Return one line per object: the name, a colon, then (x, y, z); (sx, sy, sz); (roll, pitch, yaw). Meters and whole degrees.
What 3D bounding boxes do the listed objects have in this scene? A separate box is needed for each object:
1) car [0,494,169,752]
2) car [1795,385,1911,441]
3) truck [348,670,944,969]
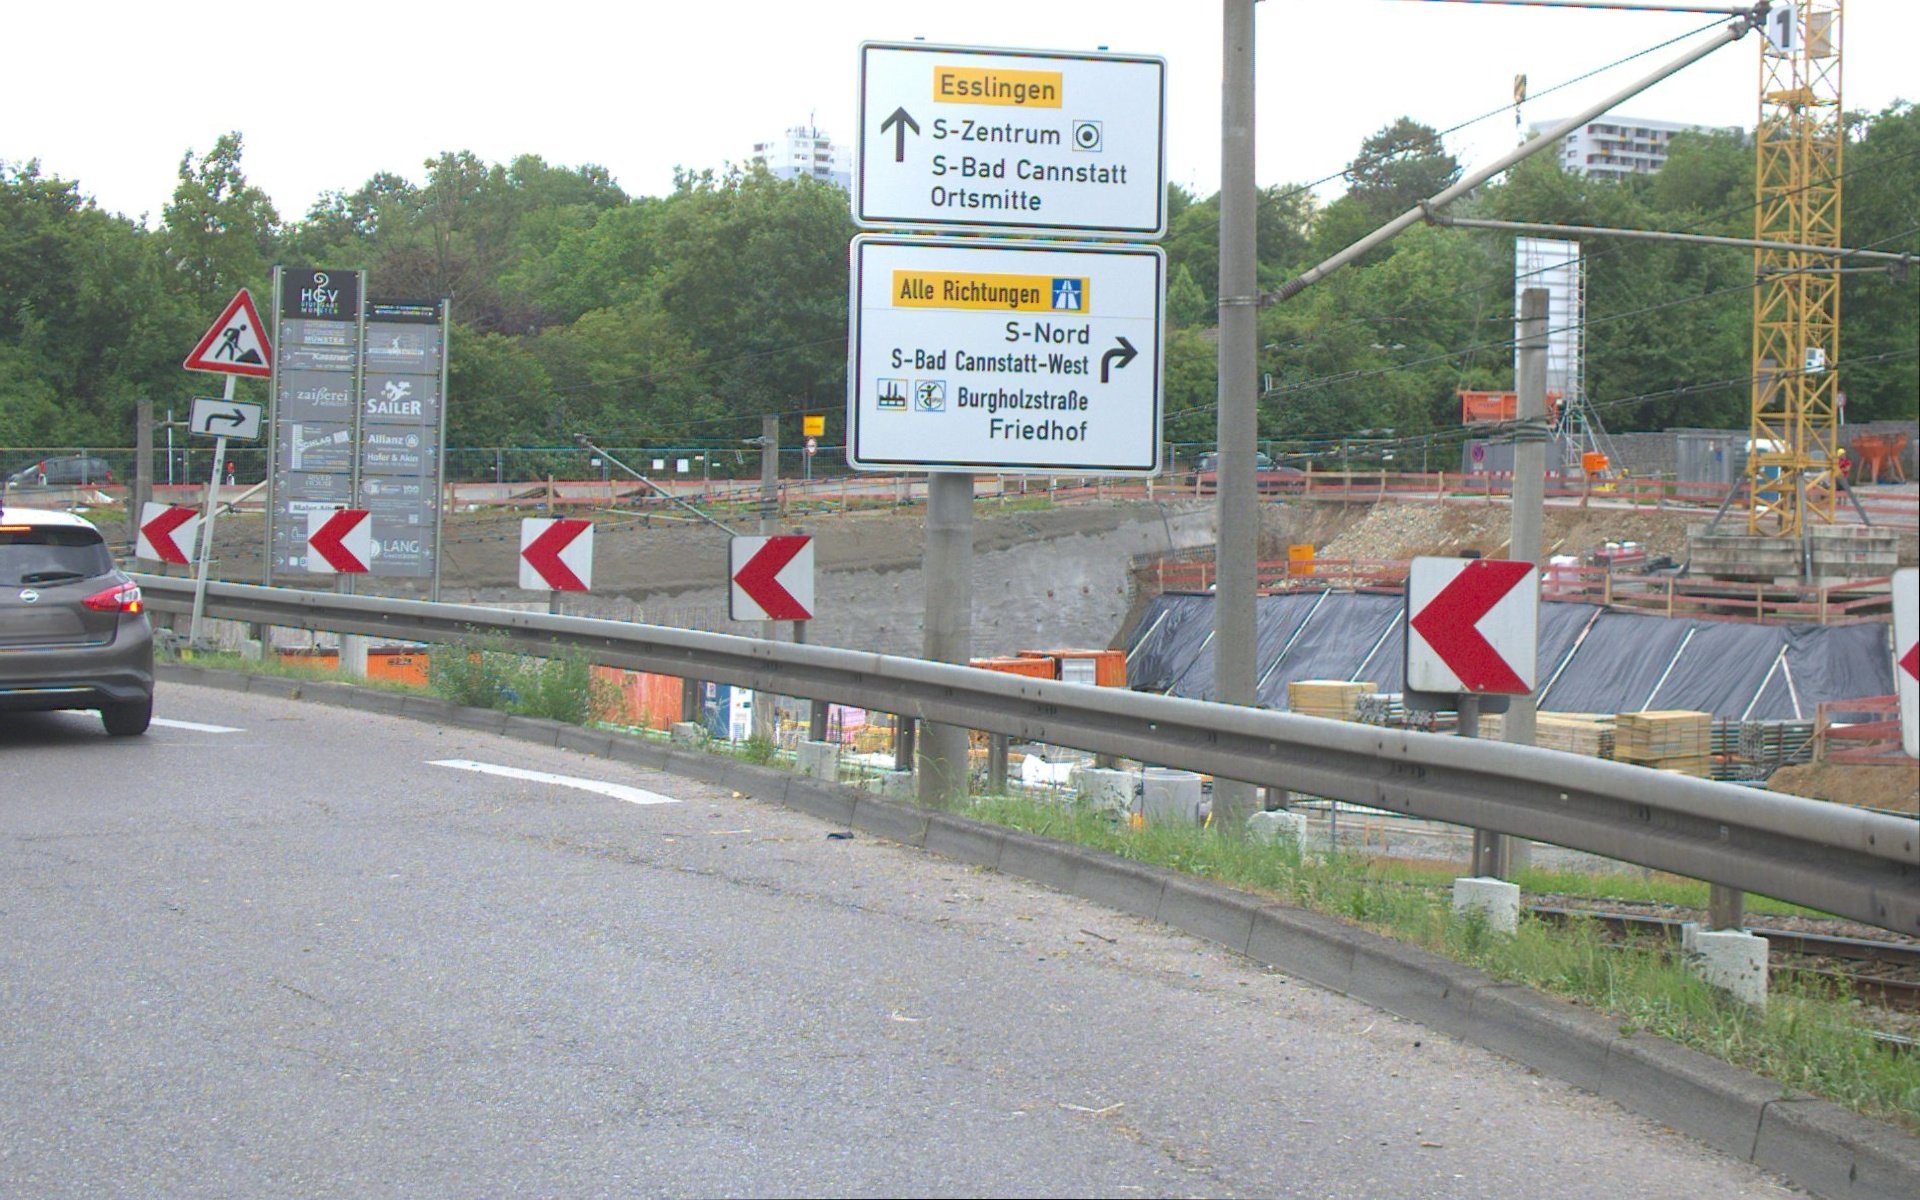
car: (-6.740, 0.090, 23.344); (1.797, 1.546, 4.001); (-1, 3, -26)
car: (34.367, -7.177, 132.335); (3.986, 2.007, 2.000); (0, 1, -25)
truck: (-5.625, 3.556, 58.985); (11.611, 3.879, 2.840); (4, 3, 41)
